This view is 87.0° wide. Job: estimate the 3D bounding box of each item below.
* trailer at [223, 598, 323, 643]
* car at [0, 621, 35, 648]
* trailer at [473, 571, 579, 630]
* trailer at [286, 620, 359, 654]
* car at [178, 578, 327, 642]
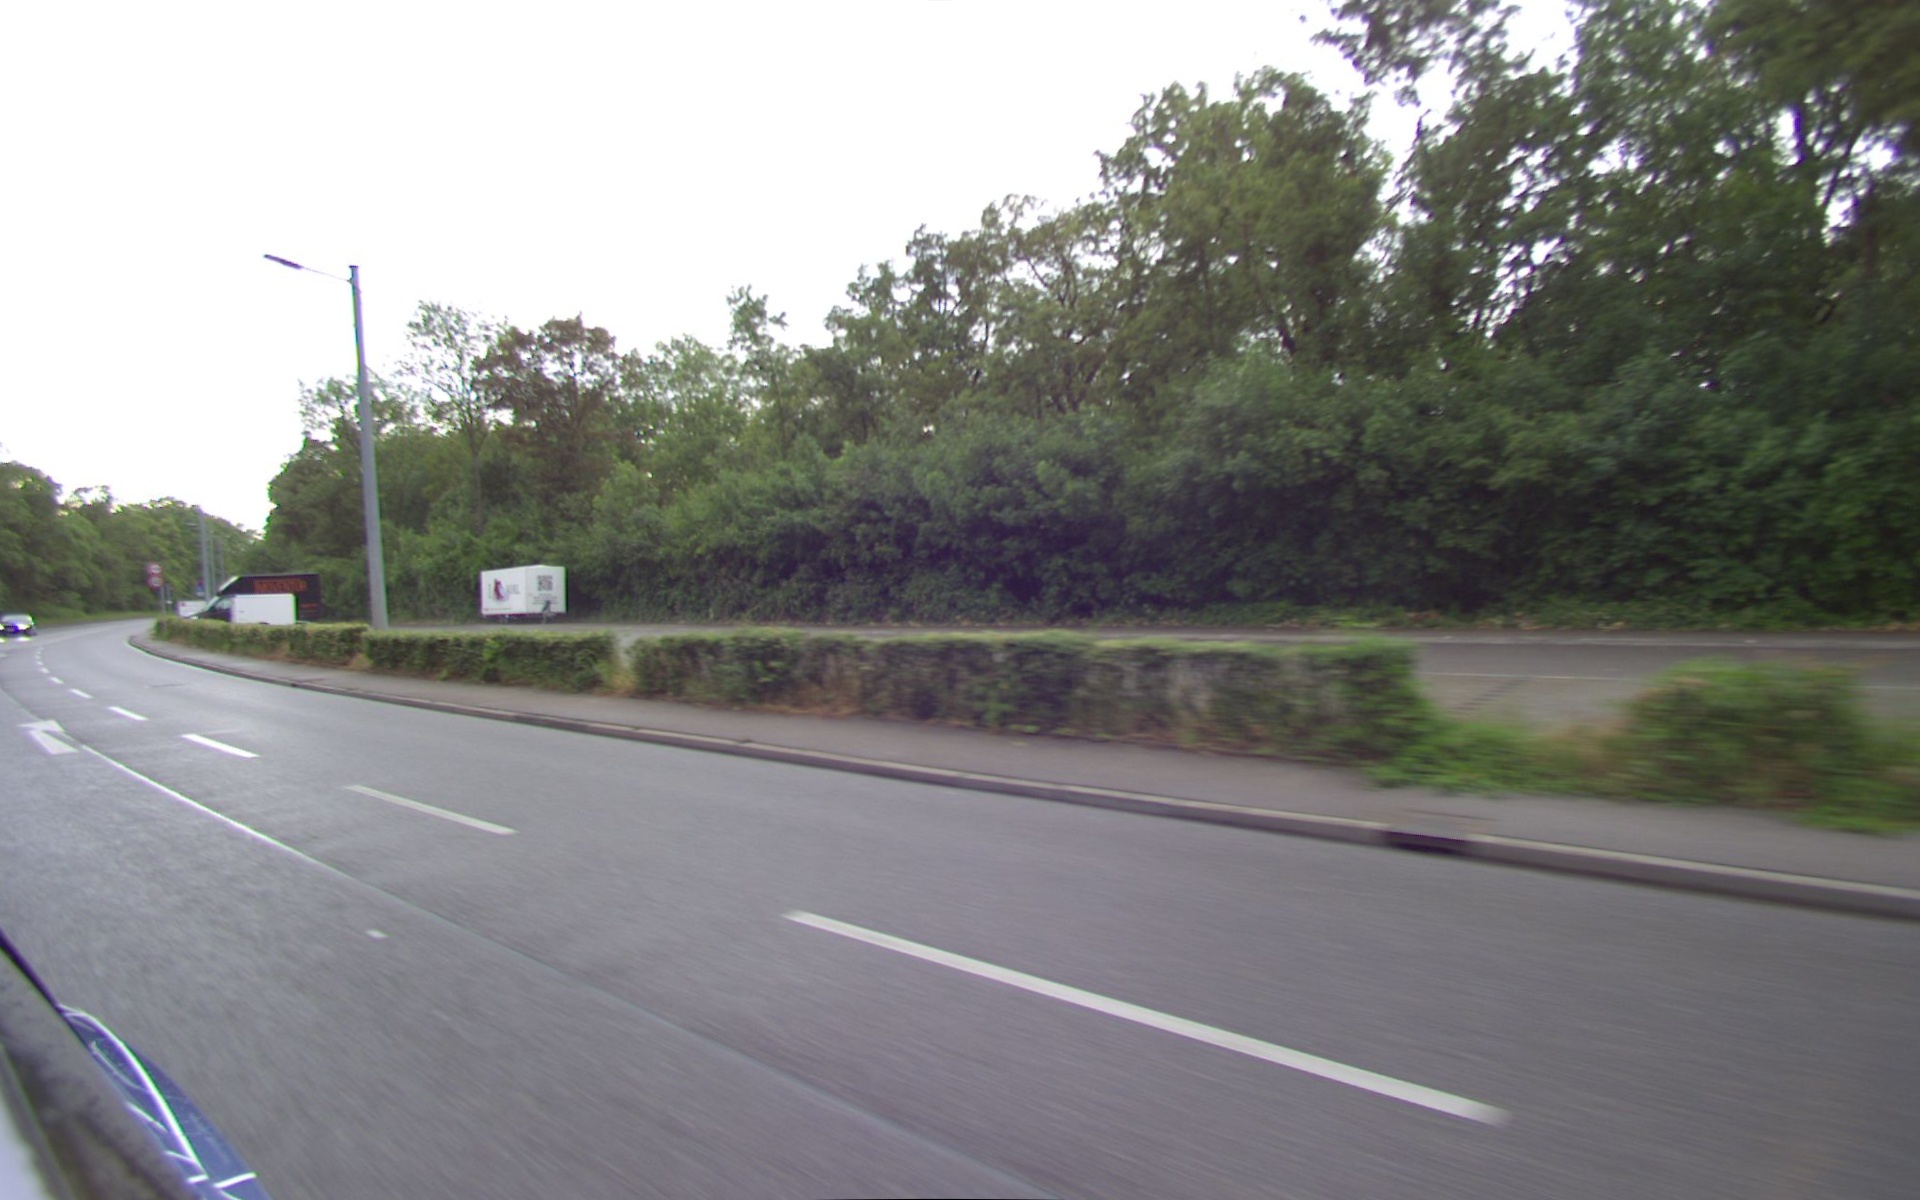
[{"bbox_3d":[-34.342,1.001,50.647,3.938,2.068,1.876,-1,0,-41],"label":"trailer"},{"bbox_3d":[-62.614,2.267,66.736,1.967,1.696,4.009,-1,0,-36],"label":"car"},{"bbox_3d":[-23.041,0.066,53.496,2.447,2.895,7.983,-1,0,-44],"label":"trailer"},{"bbox_3d":[-21.590,1.246,34.278,1.334,1.042,1.782,-1,1,42],"label":"trailer"},{"bbox_3d":[-38.098,0.464,54.609,6.199,3.136,2.754,-2,2,-44],"label":"car"}]
